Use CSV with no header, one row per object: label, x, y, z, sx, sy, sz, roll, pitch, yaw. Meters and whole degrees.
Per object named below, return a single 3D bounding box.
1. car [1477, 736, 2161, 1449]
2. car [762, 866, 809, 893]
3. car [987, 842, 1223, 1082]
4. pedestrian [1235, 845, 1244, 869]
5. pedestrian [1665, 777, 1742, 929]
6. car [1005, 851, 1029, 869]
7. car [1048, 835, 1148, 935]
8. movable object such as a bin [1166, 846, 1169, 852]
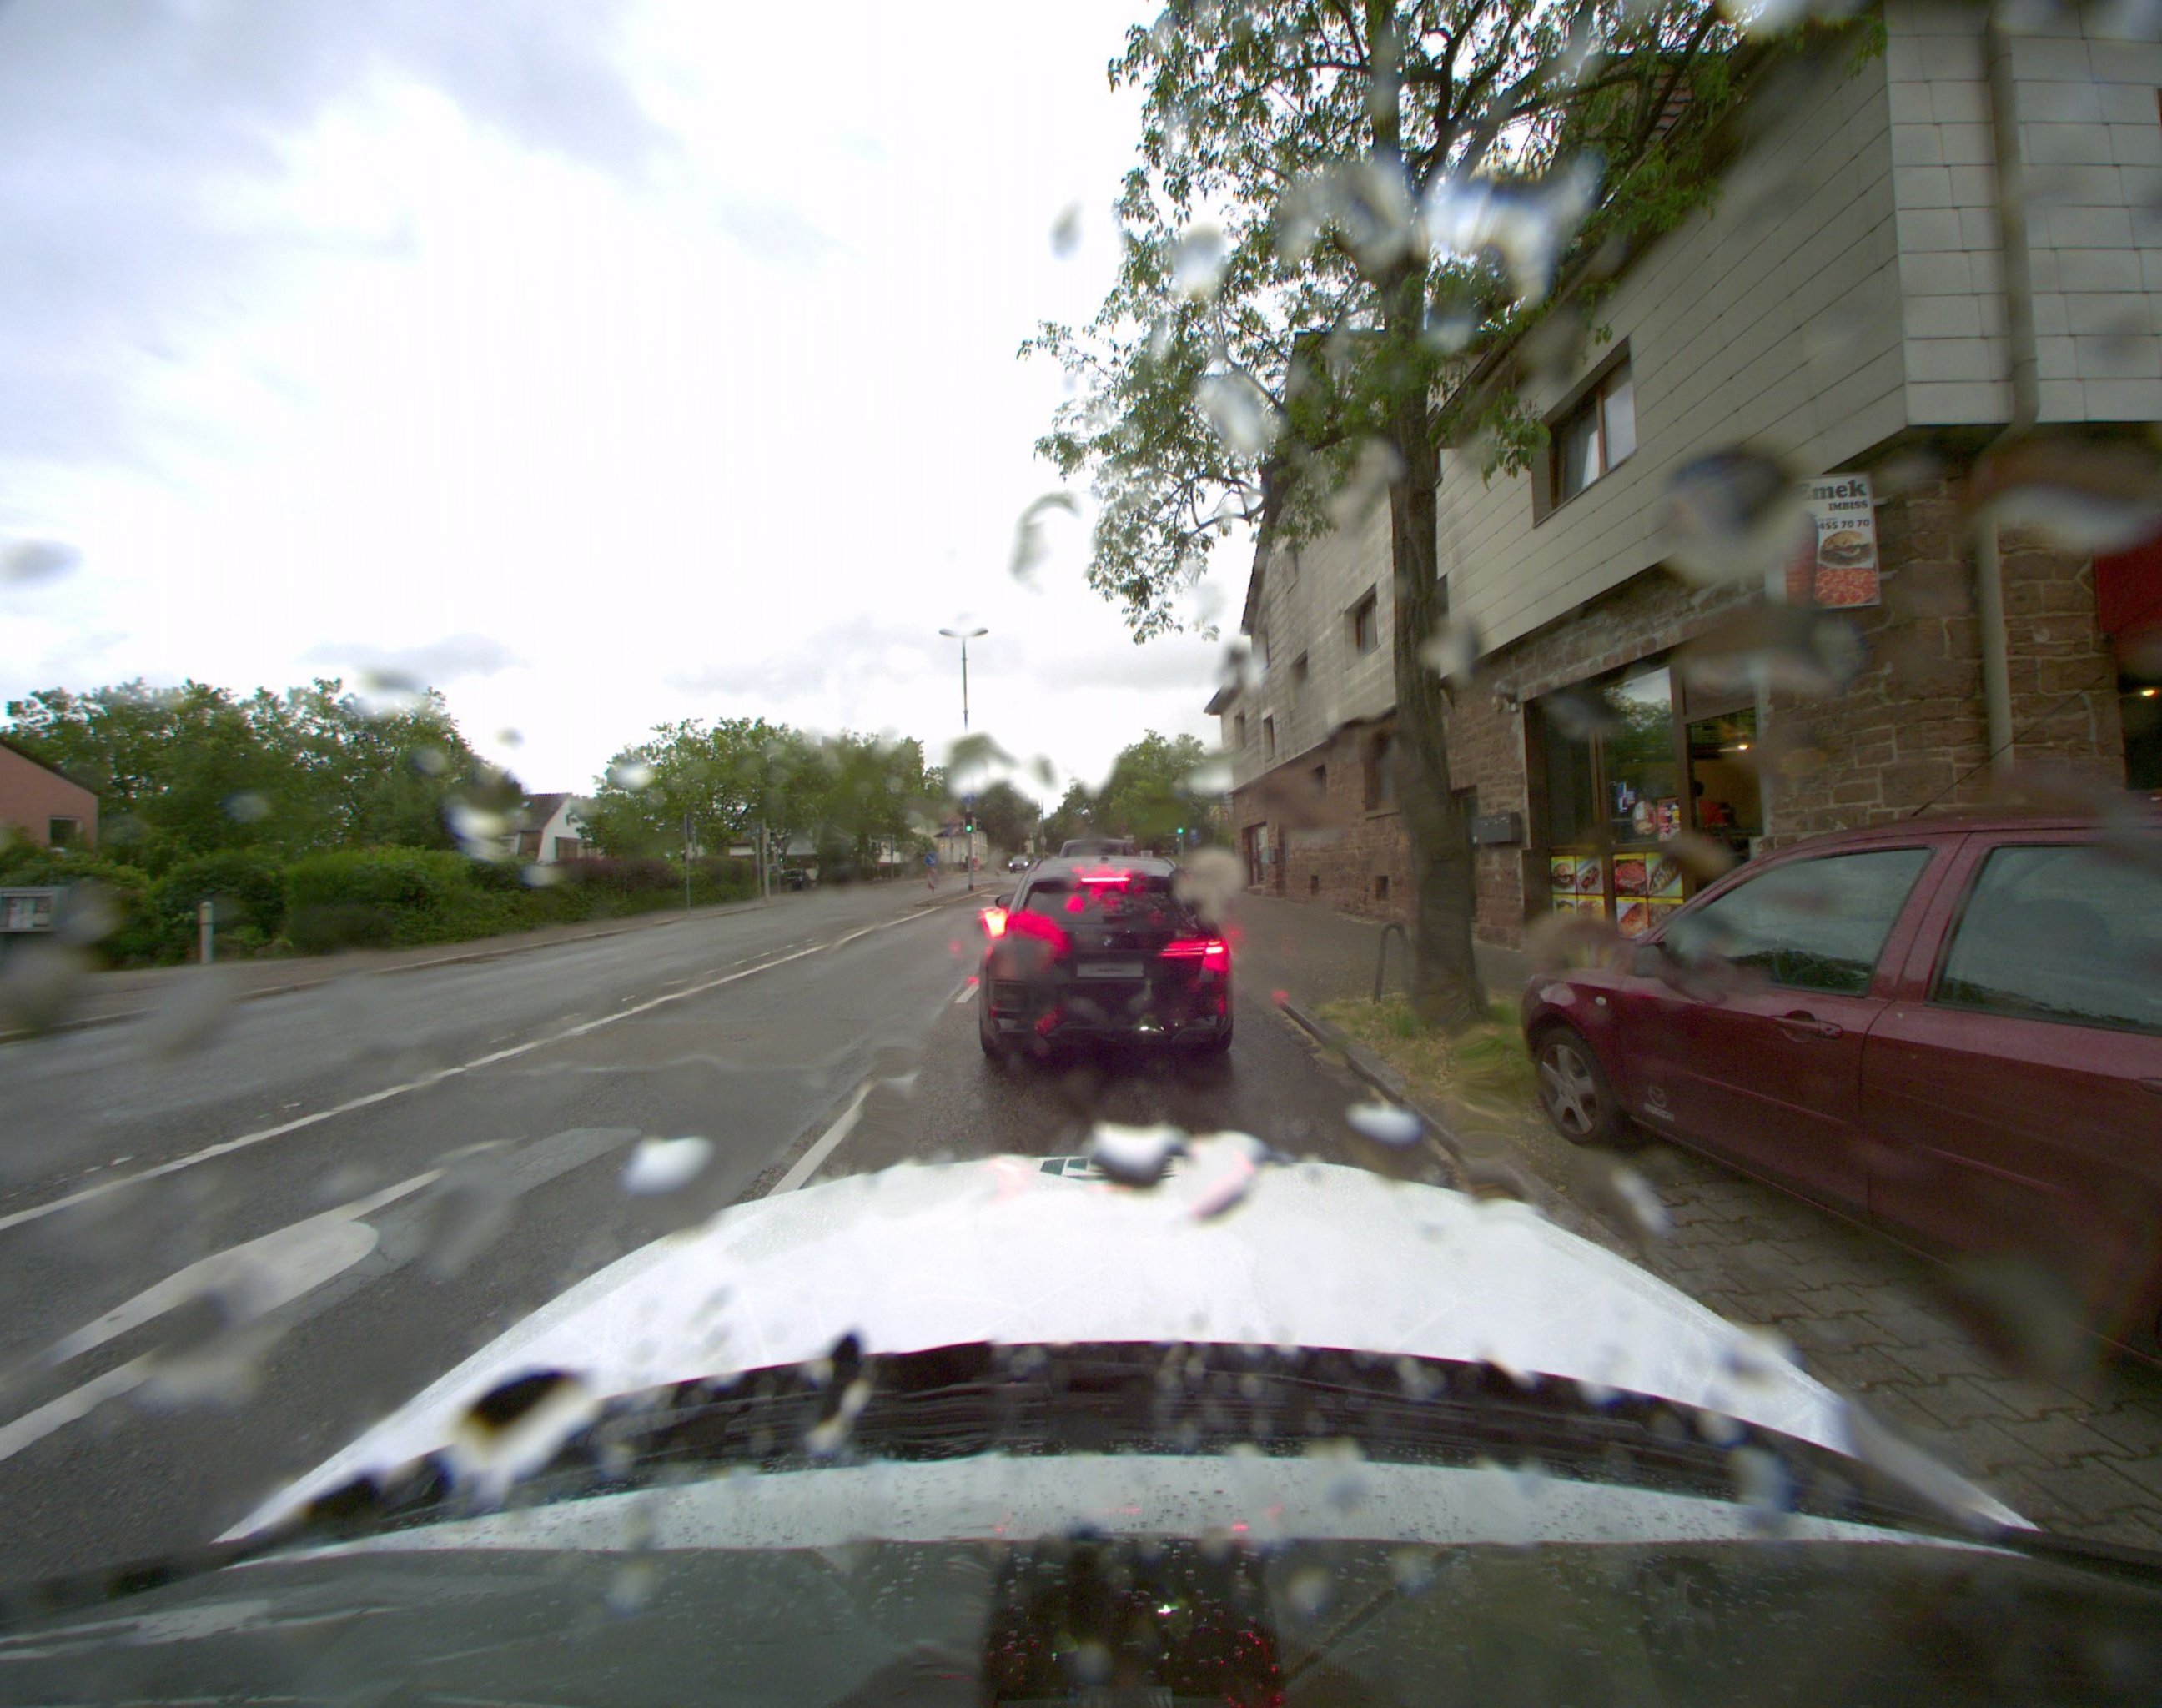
car,3.065,0.533,2.699,1.606,1.504,3.754,0,-2,-1
car,-20.973,1.778,57.929,1.803,1.551,4.001,0,3,0
car,0.128,0.708,7.042,1.519,1.534,3.530,0,-1,-1
pedestrian,11.124,0.213,57.190,0.597,1.617,0.527,-1,-1,8
pedestrian,6.947,-0.010,9.098,0.490,1.660,0.455,0,-1,1
car,-5.952,0.542,75.928,1.893,1.577,4.500,-2,1,-1
car,0.274,0.580,16.728,1.807,1.809,3.754,0,-1,-1
movable object such as a bin,12.245,-0.699,115.246,0.446,0.906,0.465,-1,-1,17
